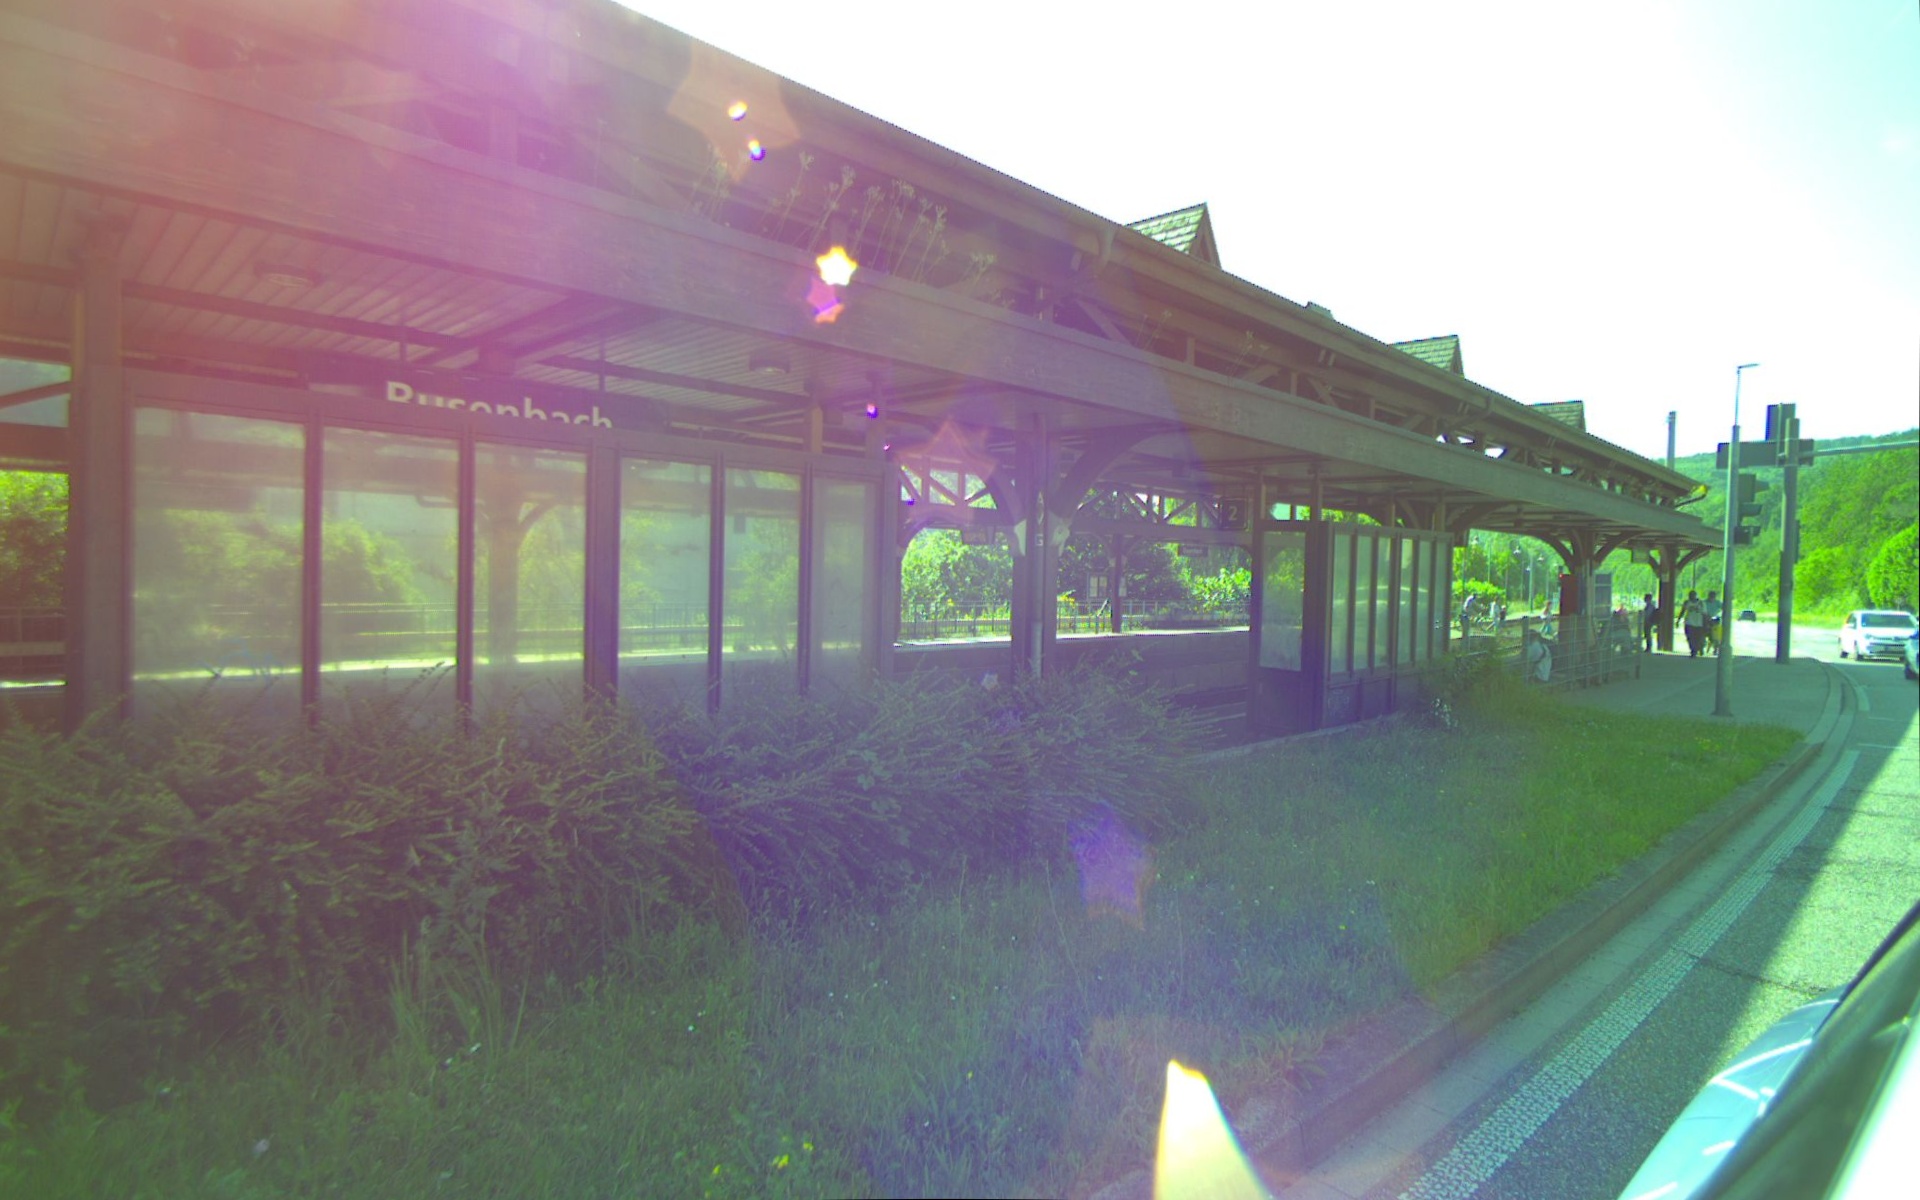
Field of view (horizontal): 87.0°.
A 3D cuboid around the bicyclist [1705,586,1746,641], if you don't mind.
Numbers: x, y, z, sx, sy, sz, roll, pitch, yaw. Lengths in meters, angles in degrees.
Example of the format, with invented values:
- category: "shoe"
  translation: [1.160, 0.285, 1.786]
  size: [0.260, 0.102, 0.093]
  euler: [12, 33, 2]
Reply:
- category: "bicyclist"
  translation: [22.485, 0.386, 29.737]
  size: [0.780, 1.589, 0.937]
  euler: [-1, -1, 28]

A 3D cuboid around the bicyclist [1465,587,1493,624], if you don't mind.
- category: "bicyclist"
  translation: [24.274, 0.269, 47.365]
  size: [0.888, 1.706, 0.821]
  euler: [0, -2, 6]

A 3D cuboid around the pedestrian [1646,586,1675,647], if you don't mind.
- category: "pedestrian"
  translation: [20.151, 0.476, 29.110]
  size: [0.655, 1.713, 0.730]
  euler: [1, 1, 35]

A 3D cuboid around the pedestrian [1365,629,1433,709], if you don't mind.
- category: "pedestrian"
  translation: [6.406, 0.986, 14.771]
  size: [0.741, 1.131, 0.657]
  euler: [-1, -2, 42]

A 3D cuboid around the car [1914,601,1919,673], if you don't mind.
- category: "car"
  translation: [20.367, 0.802, 20.047]
  size: [1.858, 1.501, 4.239]
  euler: [2, 1, 40]

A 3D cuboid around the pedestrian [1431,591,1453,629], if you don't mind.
- category: "pedestrian"
  translation: [21.871, 0.474, 45.927]
  size: [0.894, 1.706, 1.114]
  euler: [0, -2, 26]

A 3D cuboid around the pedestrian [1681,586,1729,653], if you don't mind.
- category: "pedestrian"
  translation: [20.093, 0.521, 27.300]
  size: [0.913, 1.759, 1.232]
  euler: [-1, -2, 42]

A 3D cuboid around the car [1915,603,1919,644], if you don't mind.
- category: "car"
  translation: [36.495, 0.905, 37.012]
  size: [1.971, 1.522, 3.930]
  euler: [2, 1, 39]

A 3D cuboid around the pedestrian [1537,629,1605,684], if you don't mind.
- category: "pedestrian"
  translation: [10.182, 0.923, 16.866]
  size: [0.844, 0.885, 0.795]
  euler: [-1, -2, 42]

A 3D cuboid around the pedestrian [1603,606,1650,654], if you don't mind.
- category: "pedestrian"
  translation: [17.410, 0.777, 26.447]
  size: [0.988, 1.251, 0.589]
  euler: [-1, -2, 36]

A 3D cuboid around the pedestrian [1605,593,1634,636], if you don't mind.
- category: "pedestrian"
  translation: [26.859, 0.600, 41.226]
  size: [0.813, 1.706, 0.896]
  euler: [0, -2, 24]

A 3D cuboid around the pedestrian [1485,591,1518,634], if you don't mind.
- category: "pedestrian"
  translation: [24.101, 0.570, 45.024]
  size: [1.054, 1.867, 0.989]
  euler: [3, -2, -42]

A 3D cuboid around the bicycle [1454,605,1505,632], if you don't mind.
- category: "bicycle"
  translation: [24.274, 0.852, 47.346]
  size: [1.984, 1.224, 0.709]
  euler: [0, -2, 5]

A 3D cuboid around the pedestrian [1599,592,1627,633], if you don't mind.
- category: "pedestrian"
  translation: [27.168, 0.526, 42.107]
  size: [0.864, 1.706, 0.810]
  euler: [-1, -2, 42]

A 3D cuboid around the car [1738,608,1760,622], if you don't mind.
- category: "car"
  translation: [98.709, 1.874, 126.572]
  size: [1.990, 1.772, 3.942]
  euler: [-1, -2, 40]

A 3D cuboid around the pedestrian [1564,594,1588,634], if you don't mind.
- category: "pedestrian"
  translation: [26.732, 0.623, 43.908]
  size: [0.669, 1.706, 0.560]
  euler: [1, -2, -20]

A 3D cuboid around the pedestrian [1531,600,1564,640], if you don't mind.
- category: "pedestrian"
  translation: [25.081, 0.863, 43.209]
  size: [0.805, 1.706, 0.905]
  euler: [1, -2, -15]

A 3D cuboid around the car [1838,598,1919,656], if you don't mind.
- category: "car"
  translation: [27.609, 0.774, 29.768]
  size: [1.984, 1.605, 3.955]
  euler: [-1, -1, 31]

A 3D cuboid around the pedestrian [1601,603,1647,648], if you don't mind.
- category: "pedestrian"
  translation: [18.046, 0.677, 27.497]
  size: [1.003, 1.174, 0.937]
  euler: [1, 0, 35]

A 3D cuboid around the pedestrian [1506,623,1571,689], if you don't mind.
- category: "pedestrian"
  translation: [9.113, 0.866, 15.945]
  size: [0.741, 0.995, 0.757]
  euler: [-1, -2, 42]

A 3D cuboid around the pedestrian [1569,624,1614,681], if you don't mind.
- category: "pedestrian"
  translation: [11.210, 0.923, 17.974]
  size: [0.616, 0.978, 0.400]
  euler: [-1, -2, 42]

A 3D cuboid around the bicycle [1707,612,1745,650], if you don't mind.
- category: "bicycle"
  translation: [22.444, 0.900, 29.671]
  size: [0.598, 1.069, 1.796]
  euler: [-1, -1, 28]
